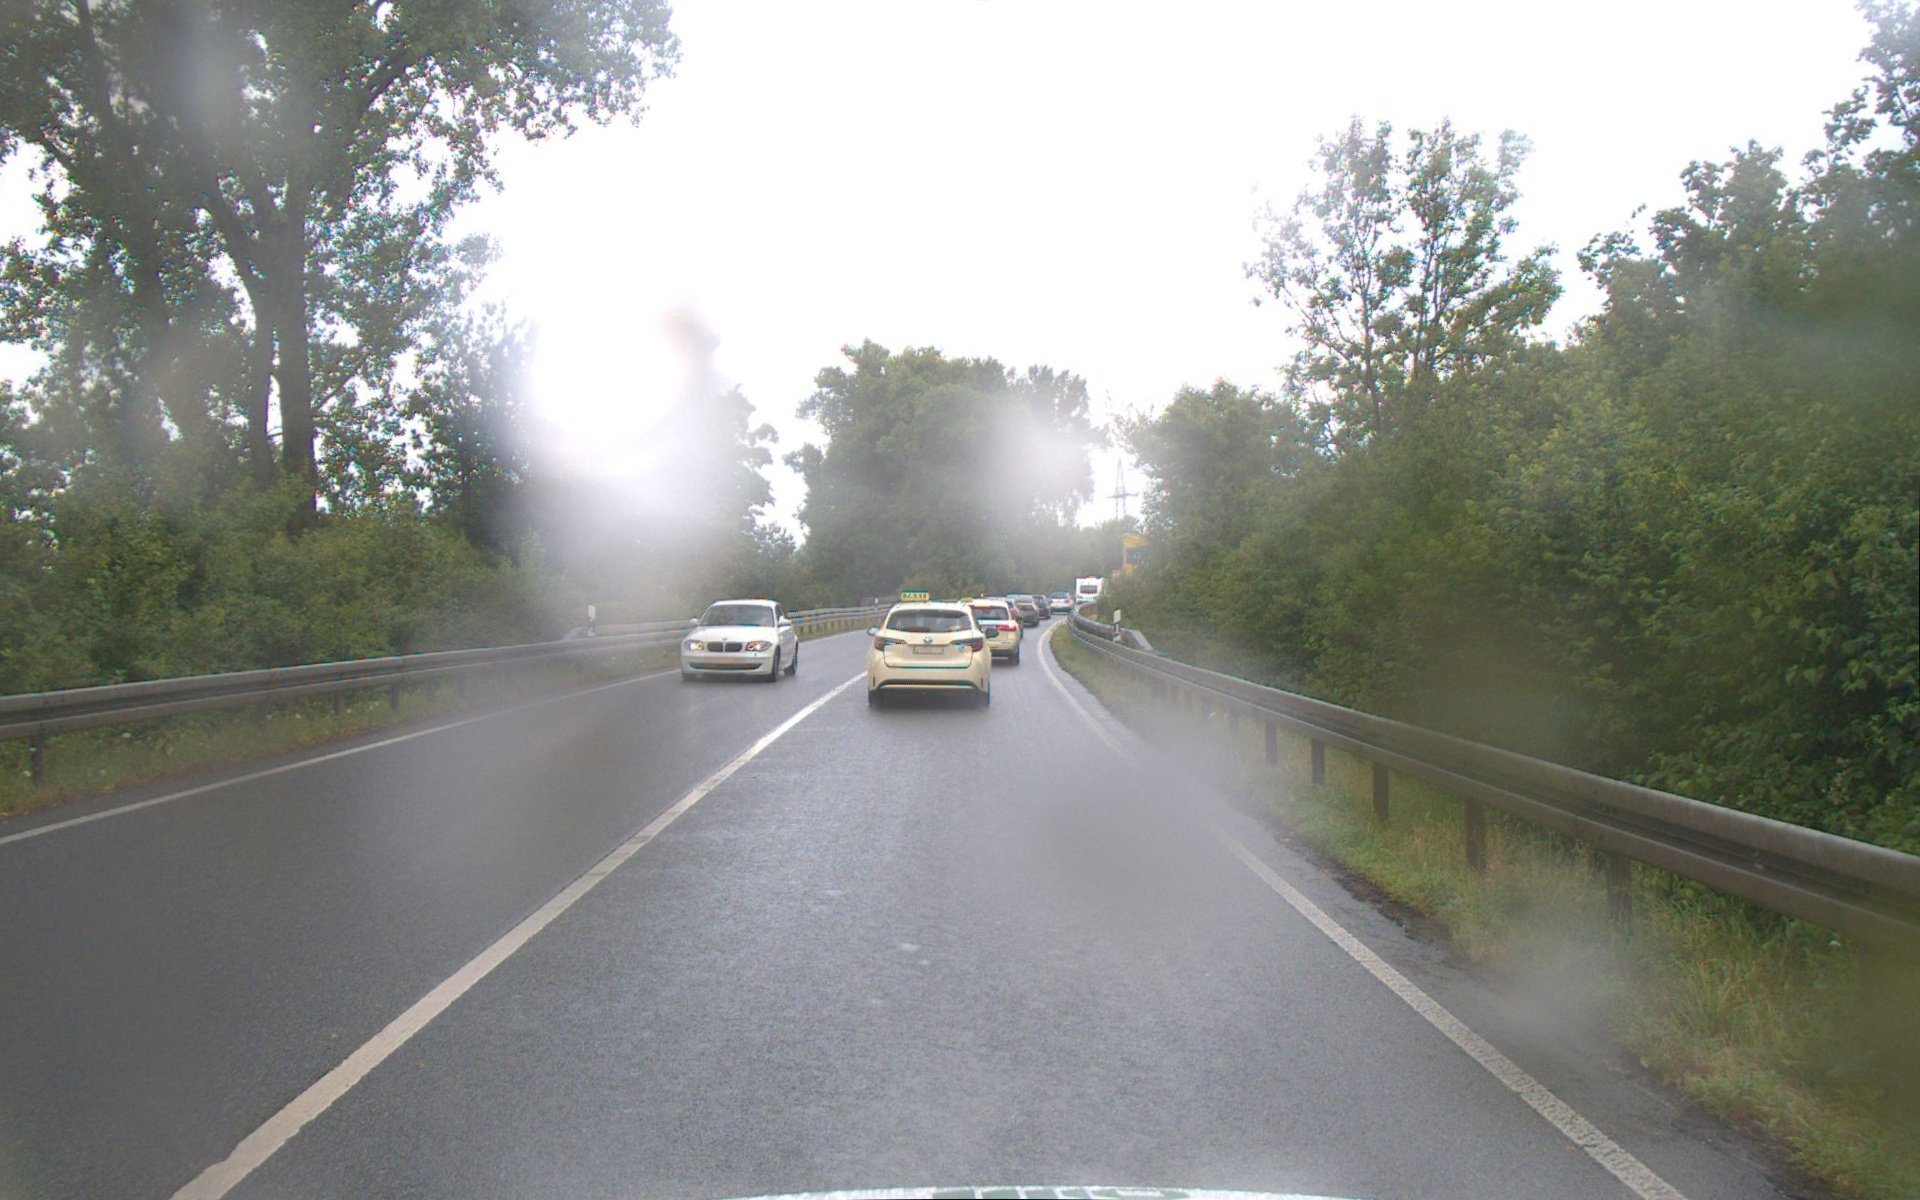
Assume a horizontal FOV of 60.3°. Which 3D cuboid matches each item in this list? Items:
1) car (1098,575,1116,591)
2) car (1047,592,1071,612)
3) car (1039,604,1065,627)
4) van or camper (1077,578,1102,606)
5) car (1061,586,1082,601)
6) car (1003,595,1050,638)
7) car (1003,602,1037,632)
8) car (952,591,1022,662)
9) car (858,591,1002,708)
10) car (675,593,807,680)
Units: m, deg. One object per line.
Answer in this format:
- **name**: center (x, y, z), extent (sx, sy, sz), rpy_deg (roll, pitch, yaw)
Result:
- **car**: center (15.013, -1.712, 168.270), extent (1.612, 1.613, 3.686), rpy_deg (1, 0, 8)
- **car**: center (6.924, 0.128, 115.262), extent (1.451, 1.332, 3.479), rpy_deg (1, 0, 6)
- **car**: center (5.484, 0.903, 98.504), extent (1.451, 1.332, 3.479), rpy_deg (1, 0, 5)
- **van or camper**: center (11.266, -0.691, 143.486), extent (1.951, 2.293, 4.003), rpy_deg (1, 0, 8)
- **car**: center (9.206, -0.543, 136.254), extent (1.343, 1.222, 3.319), rpy_deg (1, 0, 9)
- **car**: center (2.370, 0.590, 59.710), extent (1.630, 1.489, 3.477), rpy_deg (1, 0, 2)
- **car**: center (2.916, 0.825, 81.089), extent (1.626, 1.434, 3.905), rpy_deg (1, -1, 1)
- **car**: center (0.688, 0.608, 39.629), extent (1.545, 1.600, 3.682), rpy_deg (1, 0, 3)
- **car**: center (-0.355, 0.671, 24.504), extent (1.866, 1.564, 4.163), rpy_deg (1, 0, 2)
- **car**: center (-3.954, 0.620, 30.435), extent (1.777, 1.479, 4.048), rpy_deg (1, 0, 1)
